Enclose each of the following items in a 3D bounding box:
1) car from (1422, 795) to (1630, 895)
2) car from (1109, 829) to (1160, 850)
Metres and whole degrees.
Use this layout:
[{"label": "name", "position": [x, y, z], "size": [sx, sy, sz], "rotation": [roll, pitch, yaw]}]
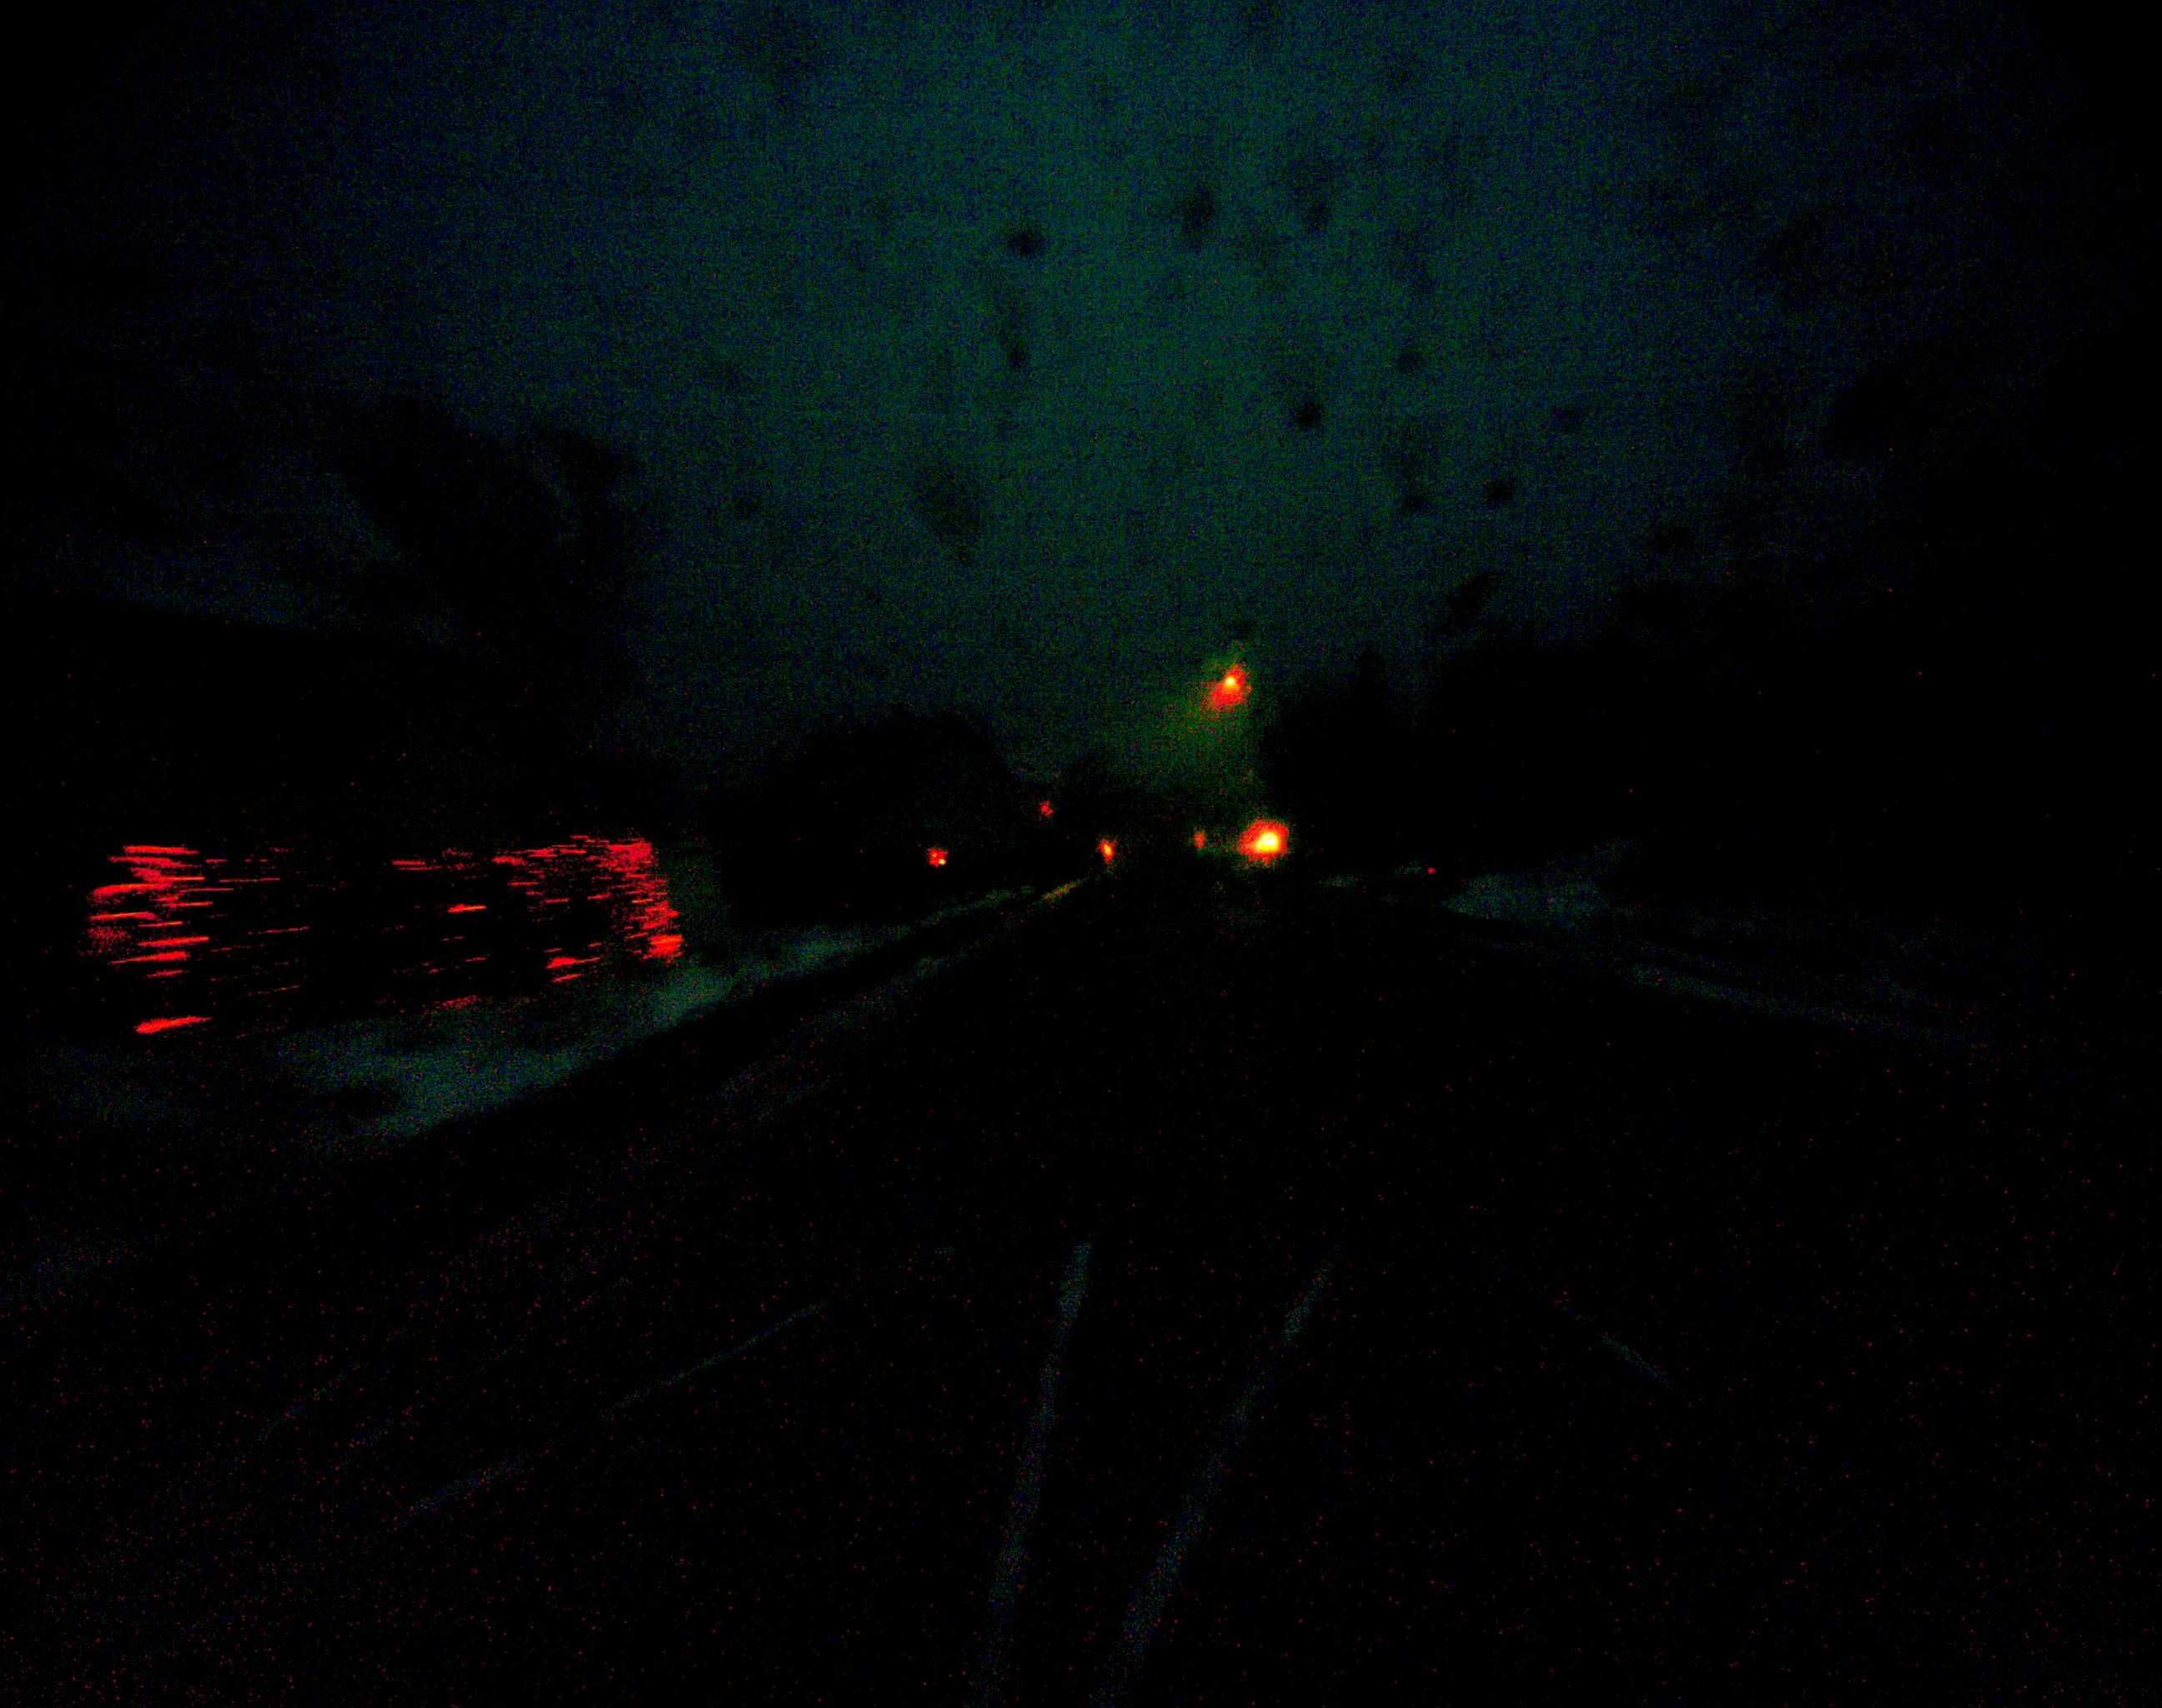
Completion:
[{"label": "car", "position": [10.771, -0.199, 18.506], "size": [3.993, 1.600, 1.905], "rotation": [-11, 0, 35]}, {"label": "car", "position": [4.929, -1.332, 70.107], "size": [4.208, 1.848, 1.914], "rotation": [0, 4, 27]}]
